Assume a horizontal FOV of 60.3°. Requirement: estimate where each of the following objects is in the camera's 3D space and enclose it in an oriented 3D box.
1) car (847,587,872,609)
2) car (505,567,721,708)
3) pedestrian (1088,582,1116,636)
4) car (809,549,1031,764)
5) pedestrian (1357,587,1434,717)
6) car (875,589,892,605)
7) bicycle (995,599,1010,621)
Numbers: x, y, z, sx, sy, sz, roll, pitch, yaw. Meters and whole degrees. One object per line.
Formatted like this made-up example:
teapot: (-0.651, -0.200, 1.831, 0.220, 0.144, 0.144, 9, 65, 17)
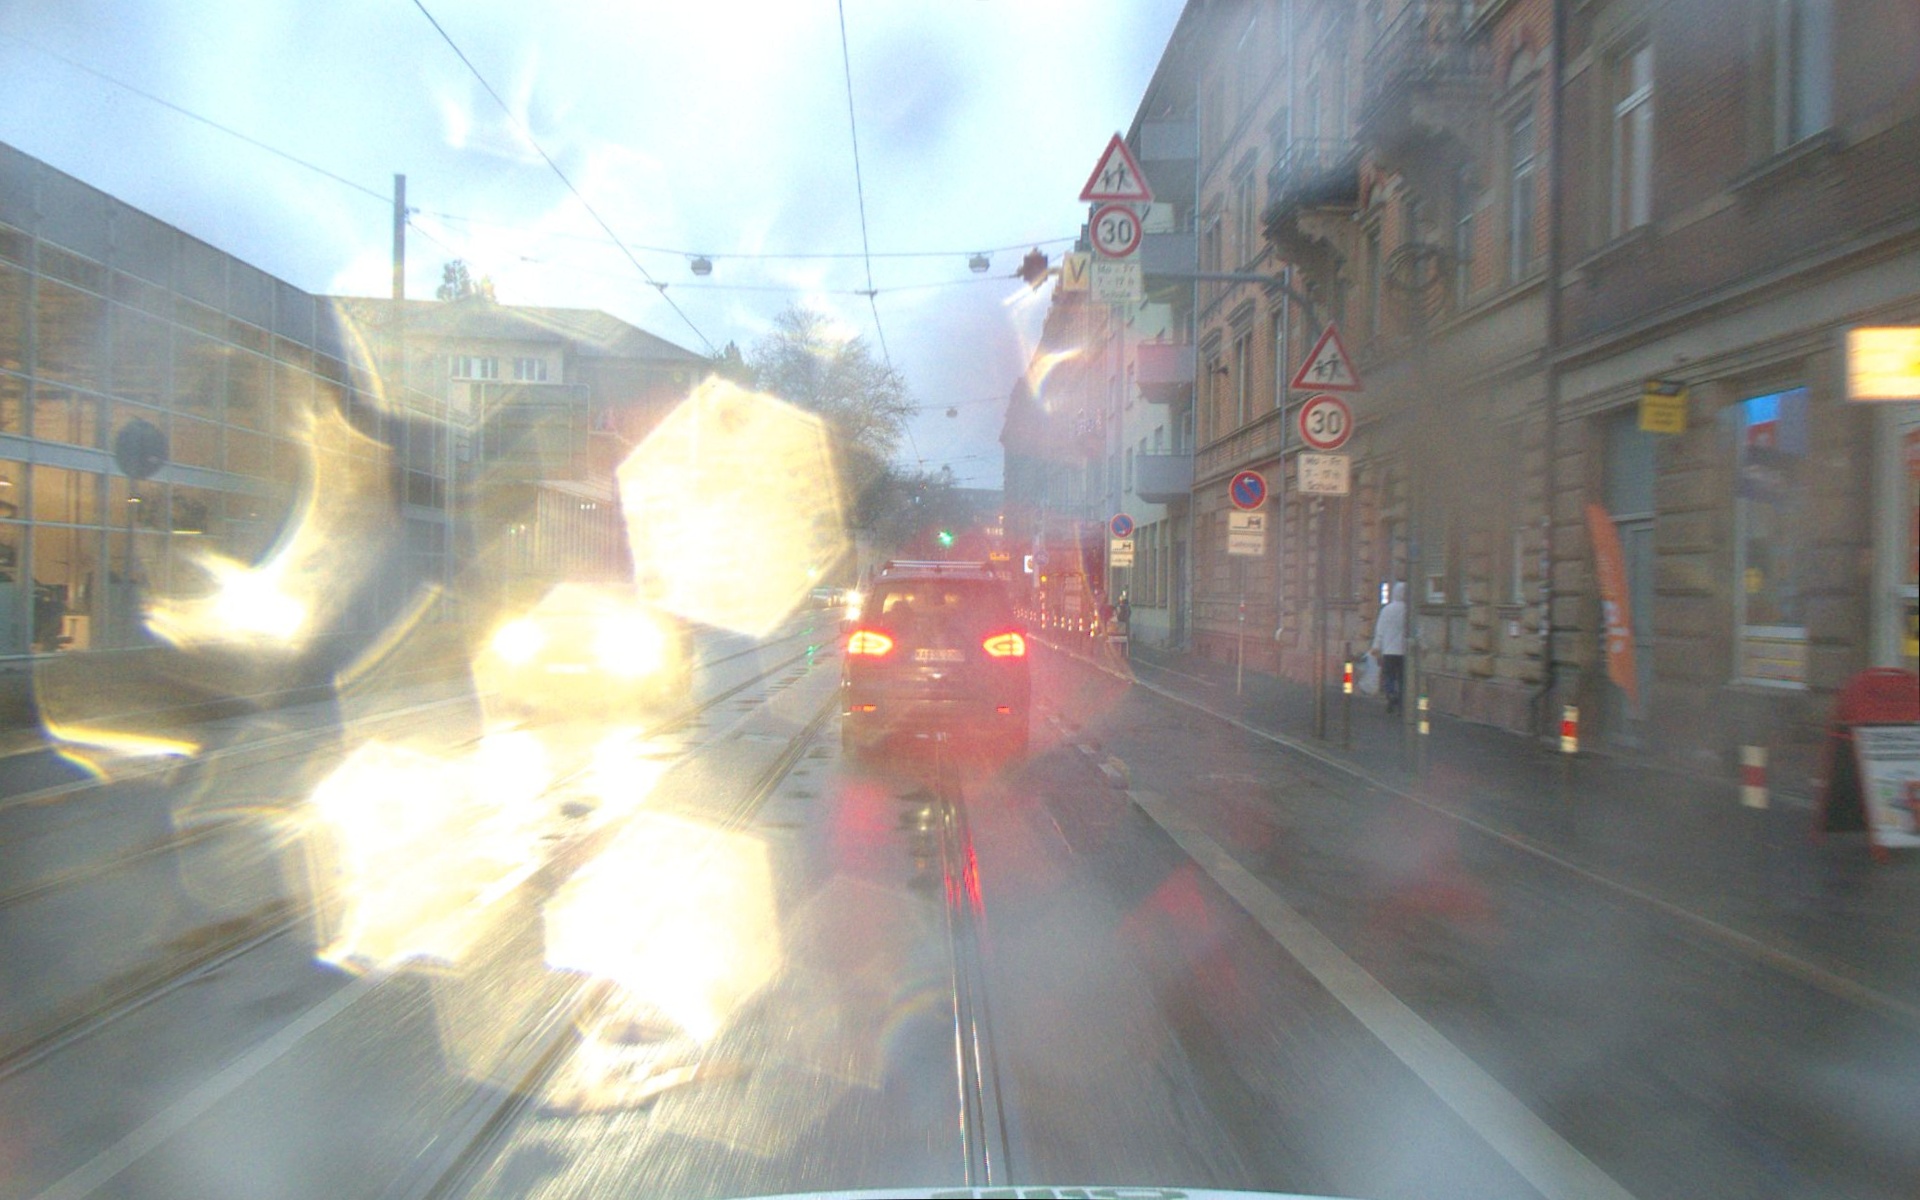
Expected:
car: (-8.061, -0.199, 132.586, 1.837, 1.739, 4.759, 0, 0, -2)
car: (-4.341, 0.429, 21.398, 1.803, 1.606, 4.442, 1, 0, 0)
pedestrian: (4.945, 0.321, 57.644, 0.592, 1.850, 0.769, 2, -1, -28)
car: (-0.300, 0.505, 16.826, 1.952, 1.874, 4.001, 1, 0, 2)
pedestrian: (5.584, 0.659, 21.253, 0.770, 1.625, 0.742, 1, 0, 0)
car: (-7.355, -0.305, 159.935, 1.499, 1.507, 3.560, 1, 0, -1)
bicycle: (2.331, 0.548, 90.965, 0.670, 1.176, 2.188, 2, 0, -1)
